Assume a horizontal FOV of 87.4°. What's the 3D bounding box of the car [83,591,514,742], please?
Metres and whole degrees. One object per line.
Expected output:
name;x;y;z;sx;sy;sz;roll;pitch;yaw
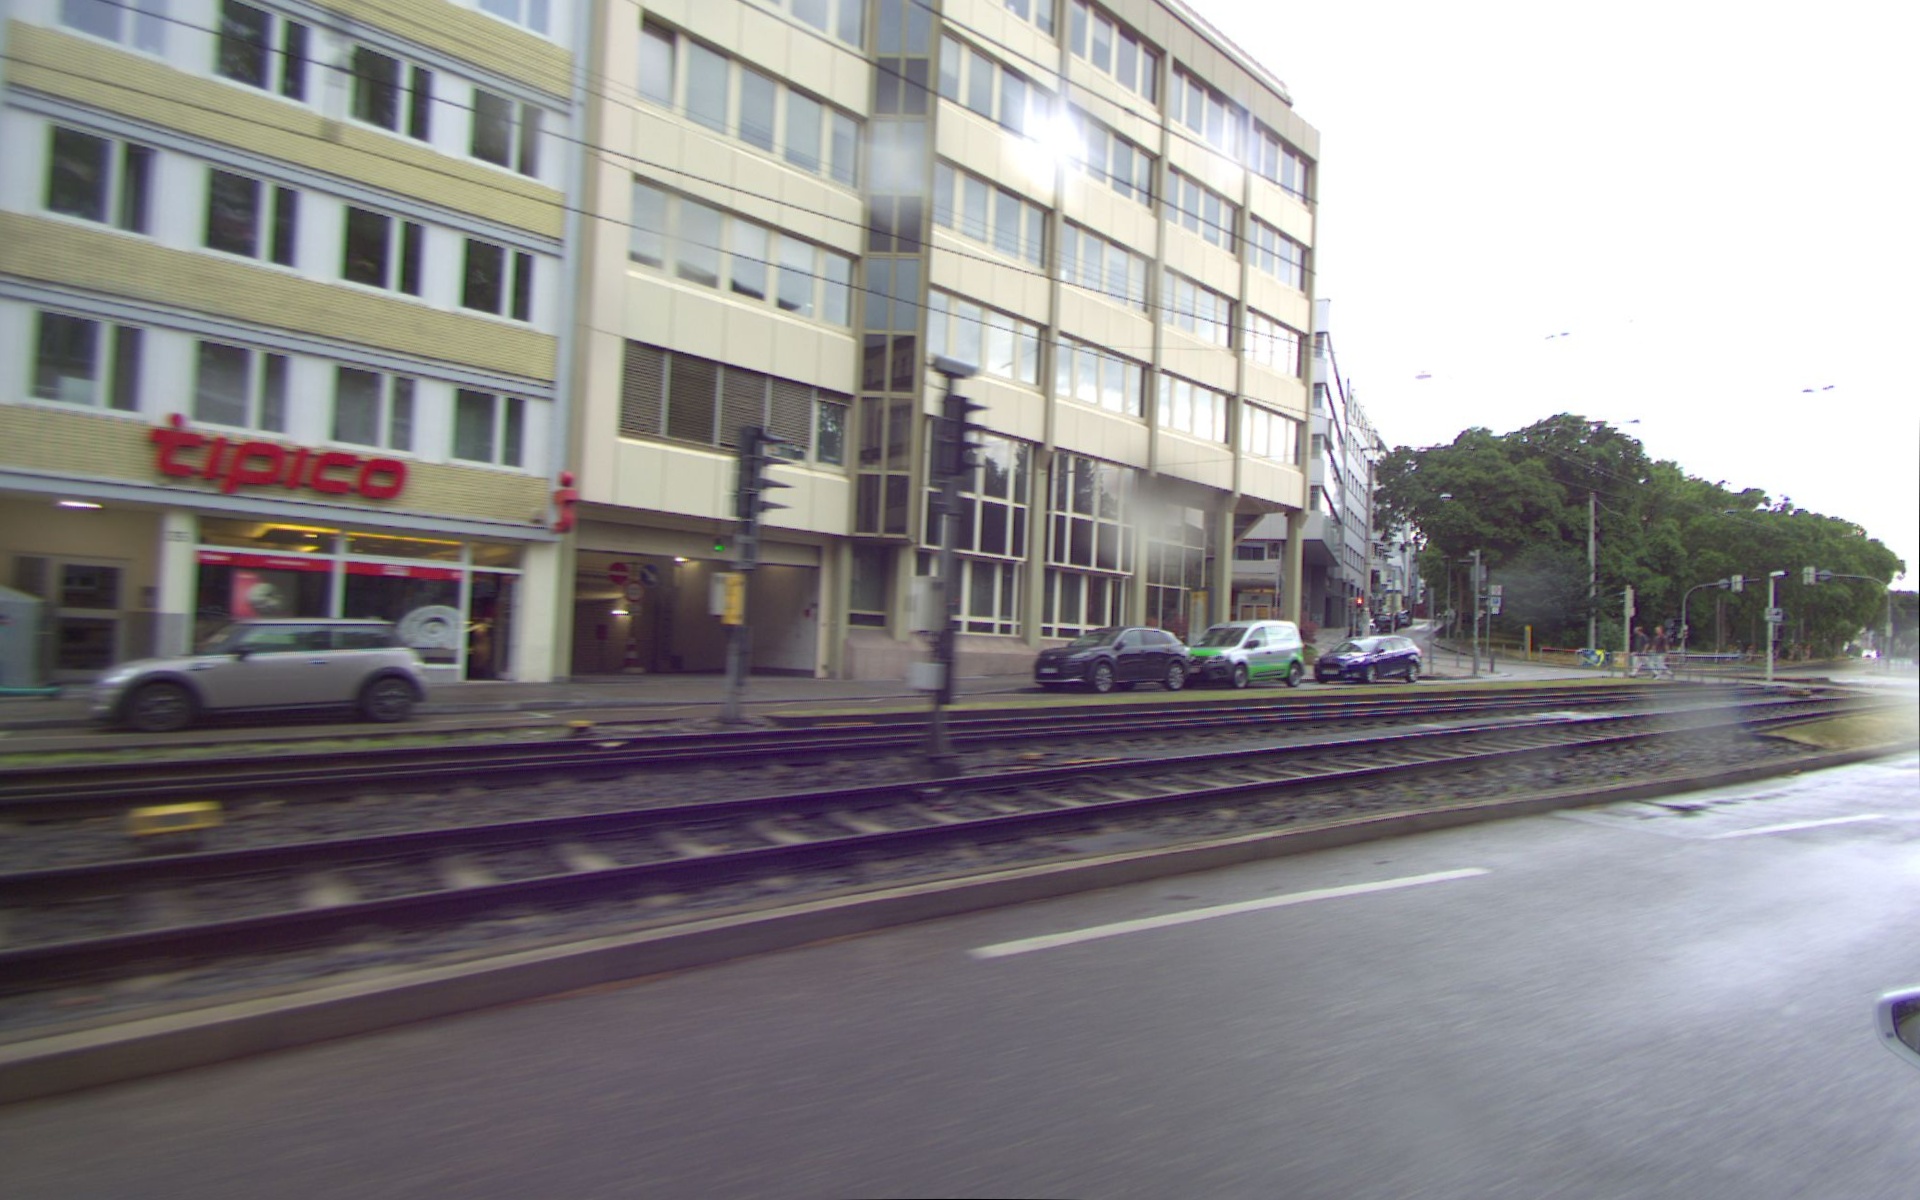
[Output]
car;-8.927;0.882;13.847;4.660;1.696;1.976;4;-1;-41

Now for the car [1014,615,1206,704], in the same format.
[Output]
car;3.704;1.444;24.282;4.660;1.874;1.976;4;-1;-41

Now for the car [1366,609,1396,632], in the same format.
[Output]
car;36.050;1.765;85.951;1.963;1.817;4.205;3;-1;27

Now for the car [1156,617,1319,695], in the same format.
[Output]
car;7.611;1.524;27.323;4.660;1.874;1.976;4;-1;-41

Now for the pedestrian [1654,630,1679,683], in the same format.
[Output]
pedestrian;24.814;1.987;35.300;0.630;1.811;0.809;3;-1;33

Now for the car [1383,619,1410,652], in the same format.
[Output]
car;42.642;3.515;98.113;1.964;3.037;4.204;3;-1;29

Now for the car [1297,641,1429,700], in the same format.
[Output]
car;12.687;2.195;31.472;4.515;1.603;1.976;4;-1;-41

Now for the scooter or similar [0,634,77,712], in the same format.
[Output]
scooter or similar;-13.361;1.039;14.442;0.966;1.046;0.377;-1;2;-40

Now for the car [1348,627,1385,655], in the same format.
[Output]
car;28.415;2.859;70.289;1.960;1.817;4.002;3;-1;16

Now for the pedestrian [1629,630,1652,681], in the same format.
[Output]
pedestrian;24.756;2.013;36.544;0.630;1.811;0.809;3;-1;33
